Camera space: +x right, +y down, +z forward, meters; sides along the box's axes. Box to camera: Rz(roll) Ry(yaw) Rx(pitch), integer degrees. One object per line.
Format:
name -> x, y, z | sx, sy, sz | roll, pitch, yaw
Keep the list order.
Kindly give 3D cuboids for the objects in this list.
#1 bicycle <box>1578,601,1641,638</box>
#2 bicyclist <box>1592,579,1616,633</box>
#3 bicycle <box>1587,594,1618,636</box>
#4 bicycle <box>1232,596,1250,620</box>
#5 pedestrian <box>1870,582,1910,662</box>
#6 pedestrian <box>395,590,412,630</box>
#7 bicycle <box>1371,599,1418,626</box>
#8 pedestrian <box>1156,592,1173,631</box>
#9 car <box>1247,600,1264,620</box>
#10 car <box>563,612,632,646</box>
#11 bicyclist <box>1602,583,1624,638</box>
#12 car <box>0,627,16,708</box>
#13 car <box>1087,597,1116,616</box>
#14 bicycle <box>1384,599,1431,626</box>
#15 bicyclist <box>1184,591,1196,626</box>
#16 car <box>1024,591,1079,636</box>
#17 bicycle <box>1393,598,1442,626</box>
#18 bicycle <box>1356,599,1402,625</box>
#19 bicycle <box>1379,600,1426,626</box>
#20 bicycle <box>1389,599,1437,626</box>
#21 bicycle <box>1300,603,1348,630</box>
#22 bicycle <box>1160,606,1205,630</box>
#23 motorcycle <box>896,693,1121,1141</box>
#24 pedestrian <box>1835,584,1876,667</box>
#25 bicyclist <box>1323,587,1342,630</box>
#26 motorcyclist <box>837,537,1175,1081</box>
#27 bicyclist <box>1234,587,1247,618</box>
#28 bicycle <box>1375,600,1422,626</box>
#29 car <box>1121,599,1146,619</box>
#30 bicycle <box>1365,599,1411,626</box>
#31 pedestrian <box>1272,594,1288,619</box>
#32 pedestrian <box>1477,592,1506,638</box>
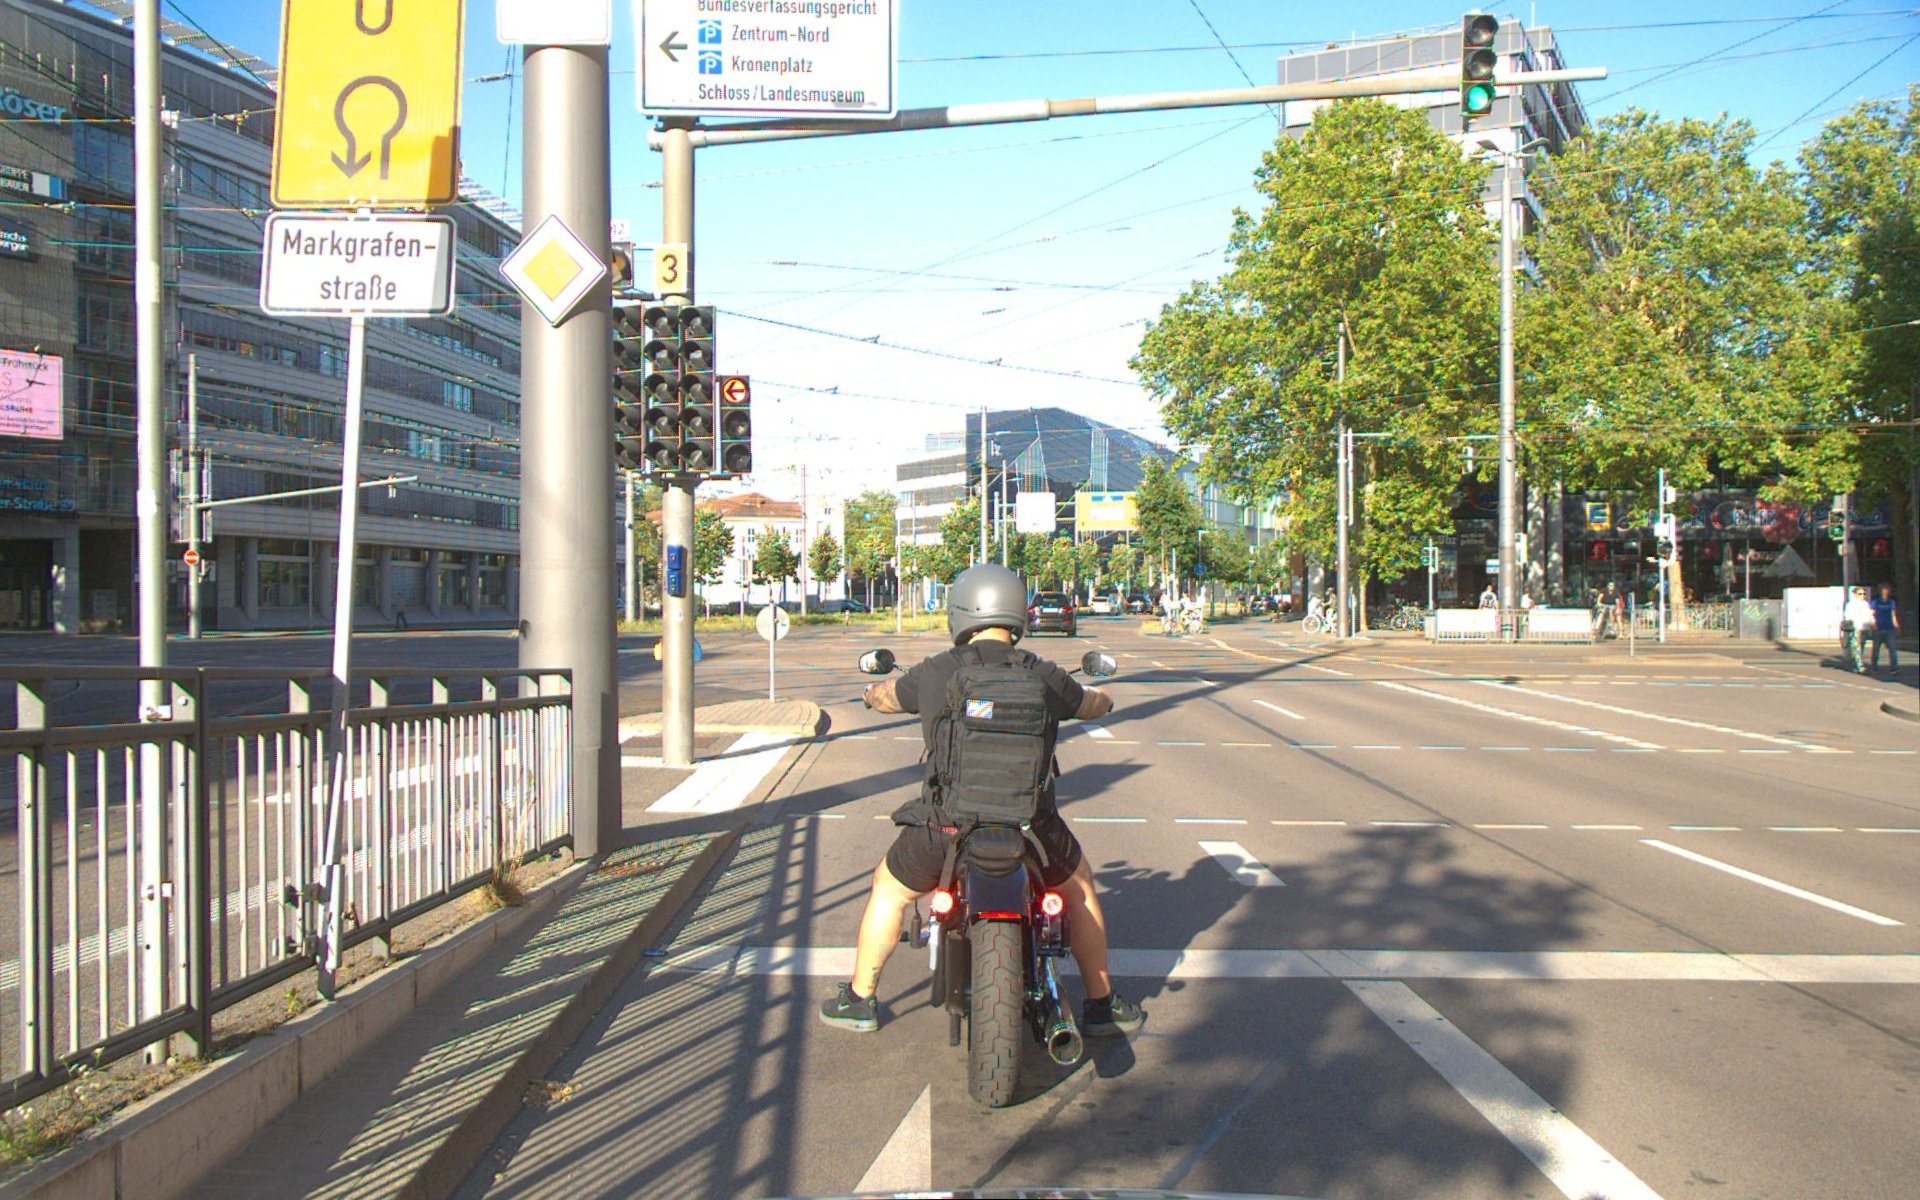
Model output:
bicycle -> 22.339, 0.680, 56.919 | 2.001, 1.235, 0.421 | 1, -1, -1
bicyclist -> 18.826, 0.175, 48.369 | 0.553, 1.545, 0.634 | 1, -1, 14
bicycle -> 18.826, 0.450, 48.464 | 0.554, 1.199, 2.331 | 1, -1, 14
bicycle -> 16.845, 0.484, 99.234 | 0.710, 1.391, 2.918 | 1, -1, 3
pedestrian -> 17.837, 0.428, 31.734 | 0.554, 1.505, 0.702 | 1, -1, 20
pedestrian -> -29.084, 0.525, 86.465 | 0.617, 2.049, 0.754 | 1, -1, -1
bicycle -> 18.194, 0.531, 69.269 | 1.842, 1.064, 0.360 | 1, 0, -2
pedestrian -> 8.529, 0.482, 68.909 | 0.576, 1.584, 0.488 | 1, -1, -9
car -> 29.306, 0.997, 164.078 | 1.497, 1.870, 3.578 | 1, -1, 12
car -> -17.119, 1.359, 78.320 | 1.712, 1.550, 4.003 | 1, -1, 11
bicyclist -> 22.474, 0.368, 56.920 | 0.572, 1.870, 0.402 | 1, -1, -1
car -> -14.519, 0.901, 22.380 | 2.835, 1.081, 1.235 | 1, -1, -22
car -> 11.195, 0.530, 130.852 | 1.765, 1.455, 4.457 | 0, 0, 12
bicycle -> 18.279, 0.518, 67.597 | 1.842, 1.065, 0.360 | 1, -1, -2
bicyclist -> 9.360, 0.358, 67.261 | 0.374, 1.397, 0.344 | 1, -1, -9
car -> 3.395, 0.472, 60.832 | 1.765, 1.623, 4.456 | 0, 0, 6
bicycle -> 18.265, 0.477, 66.000 | 1.842, 1.065, 0.360 | 1, -1, -2
bicycle -> 17.966, 0.526, 70.914 | 1.842, 1.064, 0.360 | 1, 0, -2
bicycle -> 18.233, 0.534, 68.153 | 1.842, 1.064, 0.360 | 1, 0, -2
bicycle -> 18.283, 0.497, 66.783 | 1.842, 1.065, 0.360 | 1, -1, -2
bicycle -> 14.407, 0.668, 65.450 | 1.831, 1.062, 0.537 | 0, -1, 18
bicycle -> 9.045, 0.718, 67.203 | 1.792, 0.942, 0.357 | 1, -1, -9
motorcycle -> 0.114, 0.914, 5.556 | 0.588, 1.054, 2.233 | 1, 0, -1
pedestrian -> 17.244, 0.487, 31.866 | 0.554, 1.559, 0.702 | 1, -1, 17
bicyclist -> 14.725, 0.345, 65.350 | 0.673, 1.702, 0.541 | 0, -1, 18
motorcyclist -> 0.133, 0.622, 5.390 | 1.009, 1.621, 0.873 | 0, 0, -1
bicyclist -> 16.835, 0.136, 99.279 | 0.682, 1.840, 0.729 | 1, -1, 3
bicycle -> 18.223, 0.539, 68.784 | 1.842, 1.065, 0.360 | 1, -1, -2
car -> 15.074, 0.775, 143.754 | 1.765, 1.708, 4.044 | 1, -1, 11
bicycle -> 18.068, 0.526, 69.766 | 1.842, 1.064, 0.360 | 1, 0, -2
pedestrian -> 17.572, 0.365, 90.891 | 0.802, 1.337, 0.638 | 1, -1, 8
pedestrian -> 20.050, 0.562, 62.386 | 0.816, 1.734, 0.759 | 1, -1, -1
